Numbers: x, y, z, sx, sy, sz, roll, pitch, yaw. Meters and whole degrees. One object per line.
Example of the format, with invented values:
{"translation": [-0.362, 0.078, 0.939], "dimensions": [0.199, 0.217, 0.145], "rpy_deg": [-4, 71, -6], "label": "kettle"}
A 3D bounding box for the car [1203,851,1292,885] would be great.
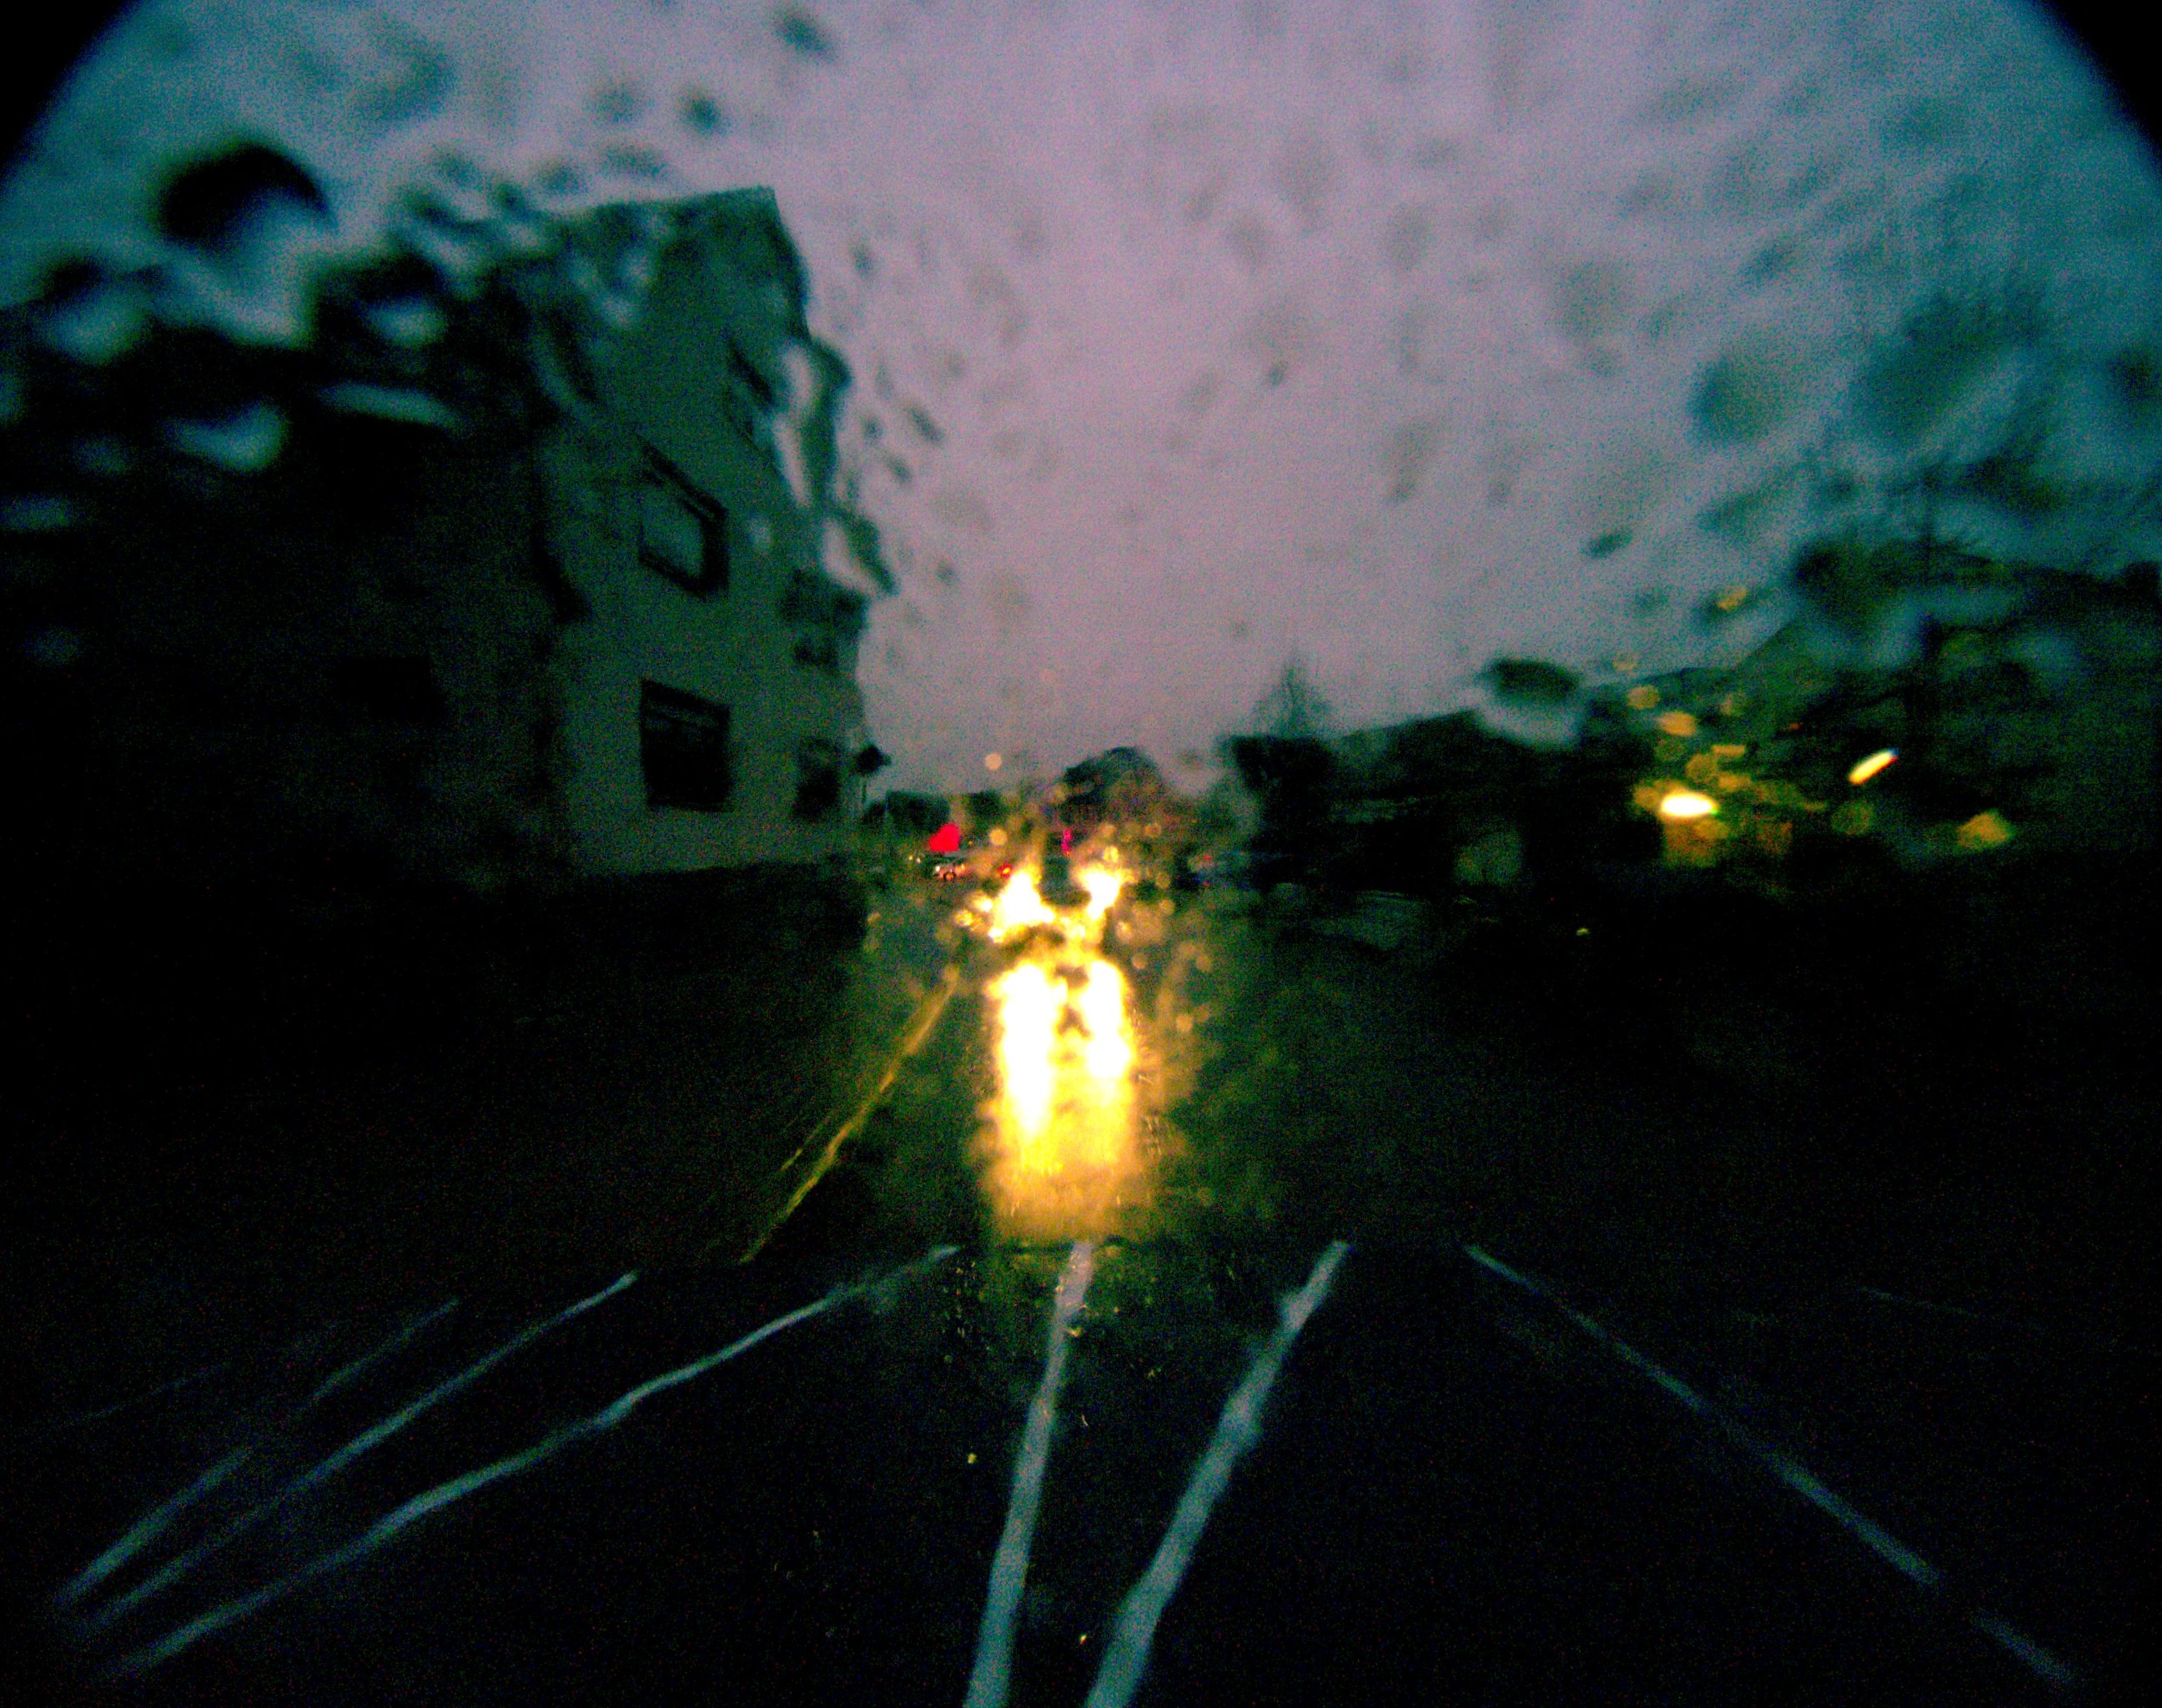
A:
{"translation": [7.943, 0.663, 36.613], "dimensions": [4.107, 1.573, 1.722], "rpy_deg": [0, 1, 9], "label": "car"}

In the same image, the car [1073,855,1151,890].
{"translation": [1.417, 0.849, 36.496], "dimensions": [1.913, 1.524, 4.247], "rpy_deg": [-2, 0, -26], "label": "car"}

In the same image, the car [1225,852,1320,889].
{"translation": [8.545, 0.731, 34.091], "dimensions": [3.993, 1.521, 2.002], "rpy_deg": [-1, 0, 13], "label": "car"}

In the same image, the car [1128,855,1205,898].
{"translation": [3.303, 0.826, 30.033], "dimensions": [1.840, 1.527, 3.671], "rpy_deg": [-2, 1, -14], "label": "car"}

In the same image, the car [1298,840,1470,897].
{"translation": [10.412, 0.485, 26.567], "dimensions": [5.386, 1.874, 2.076], "rpy_deg": [0, 0, 16], "label": "car"}

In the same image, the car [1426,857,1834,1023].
{"translation": [6.197, 0.821, 9.397], "dimensions": [1.751, 1.464, 4.458], "rpy_deg": [-2, 0, -1], "label": "car"}

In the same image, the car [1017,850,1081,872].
{"translation": [-2.584, 0.579, 61.083], "dimensions": [4.775, 1.625, 1.997], "rpy_deg": [1, -2, -20], "label": "car"}

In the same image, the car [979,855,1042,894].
{"translation": [-3.821, 1.013, 40.287], "dimensions": [2.150, 1.850, 4.734], "rpy_deg": [-2, 1, -20], "label": "car"}

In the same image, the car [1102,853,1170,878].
{"translation": [3.358, 0.704, 46.531], "dimensions": [4.069, 1.451, 1.758], "rpy_deg": [-1, 1, 4], "label": "car"}

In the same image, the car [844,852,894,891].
{"translation": [-11.566, 0.902, 41.172], "dimensions": [1.982, 1.948, 4.842], "rpy_deg": [-1, 0, -23], "label": "car"}

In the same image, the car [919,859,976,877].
{"translation": [-12.684, 1.319, 72.143], "dimensions": [4.888, 1.673, 1.996], "rpy_deg": [-1, -1, -28], "label": "car"}

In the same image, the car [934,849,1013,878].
{"translation": [-8.372, 0.722, 58.990], "dimensions": [5.783, 1.934, 1.988], "rpy_deg": [-2, 0, -16], "label": "car"}

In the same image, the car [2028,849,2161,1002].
{"translation": [12.565, 0.693, 7.236], "dimensions": [4.078, 1.468, 1.742], "rpy_deg": [0, 0, 24], "label": "car"}

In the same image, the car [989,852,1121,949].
{"translation": [-0.570, 0.811, 15.810], "dimensions": [2.270, 1.633, 5.064], "rpy_deg": [-1, 0, -3], "label": "car"}

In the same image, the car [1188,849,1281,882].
{"translation": [7.945, 0.601, 39.571], "dimensions": [4.649, 1.644, 1.989], "rpy_deg": [0, 1, 9], "label": "car"}

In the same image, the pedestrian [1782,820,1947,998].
{"translation": [8.687, 0.575, 8.476], "dimensions": [0.755, 1.856, 1.061], "rpy_deg": [-1, 1, 1], "label": "pedestrian"}

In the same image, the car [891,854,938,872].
{"translation": [-17.664, 0.940, 80.577], "dimensions": [4.435, 1.790, 1.840], "rpy_deg": [-1, 0, -30], "label": "car"}
